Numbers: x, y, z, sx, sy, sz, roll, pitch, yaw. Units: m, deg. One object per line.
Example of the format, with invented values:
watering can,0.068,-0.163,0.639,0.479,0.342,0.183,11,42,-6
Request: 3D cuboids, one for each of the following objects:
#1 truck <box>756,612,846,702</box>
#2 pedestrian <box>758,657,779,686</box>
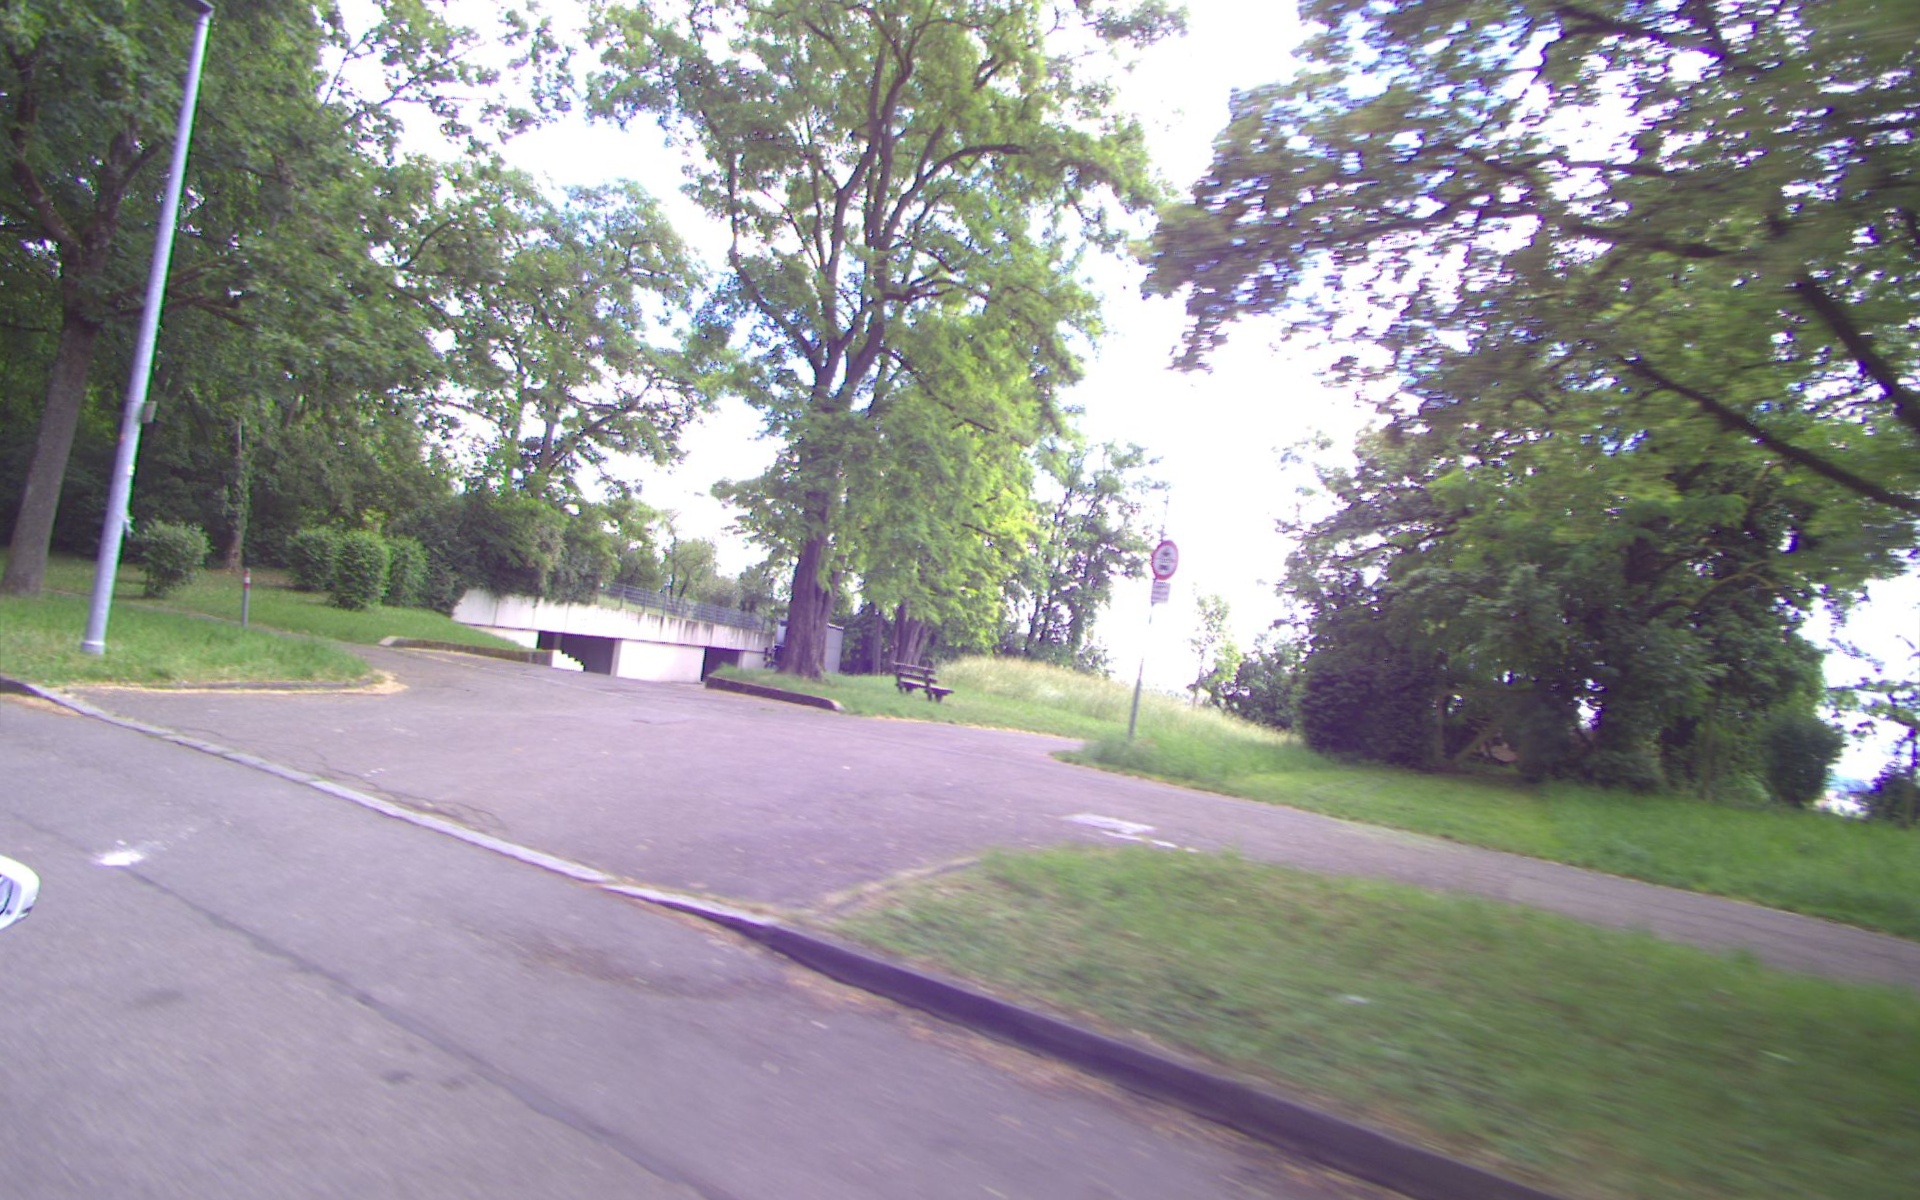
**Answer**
truck,-8.156,3.083,53.035,2.647,4.039,9.588,7,-4,1
pedestrian,-11.867,4.445,62.430,0.948,1.631,0.703,9,-3,2
